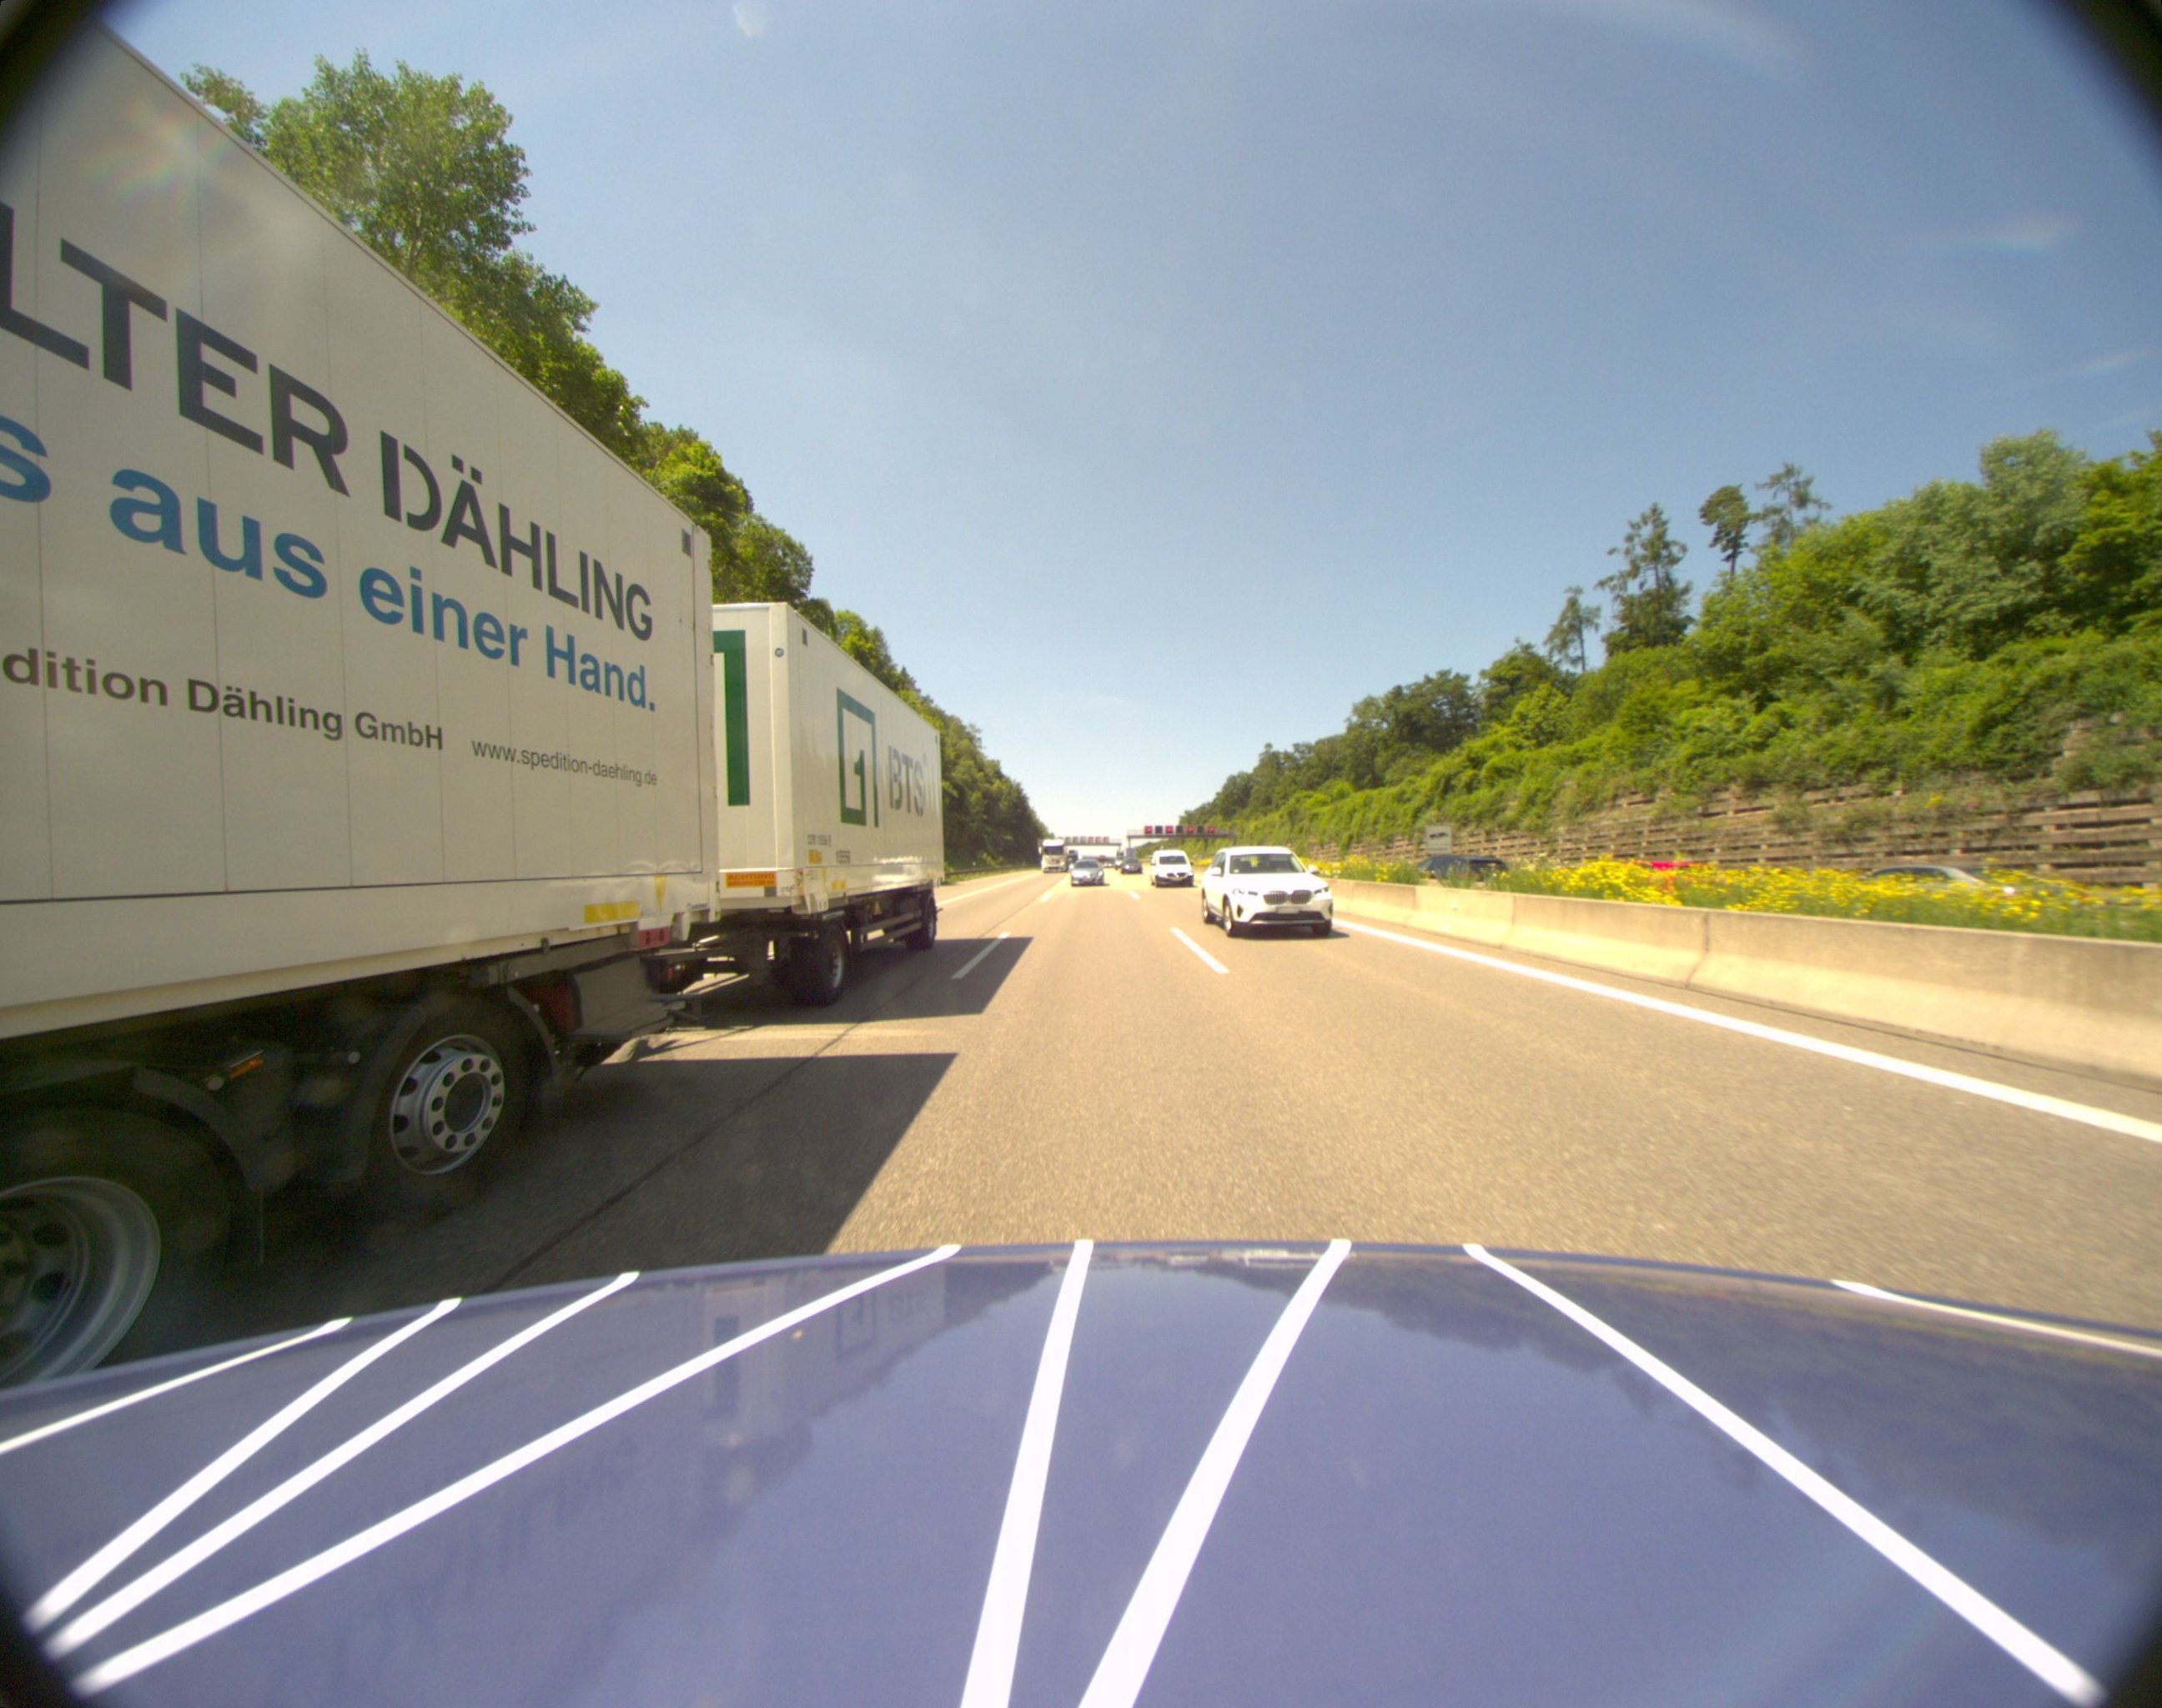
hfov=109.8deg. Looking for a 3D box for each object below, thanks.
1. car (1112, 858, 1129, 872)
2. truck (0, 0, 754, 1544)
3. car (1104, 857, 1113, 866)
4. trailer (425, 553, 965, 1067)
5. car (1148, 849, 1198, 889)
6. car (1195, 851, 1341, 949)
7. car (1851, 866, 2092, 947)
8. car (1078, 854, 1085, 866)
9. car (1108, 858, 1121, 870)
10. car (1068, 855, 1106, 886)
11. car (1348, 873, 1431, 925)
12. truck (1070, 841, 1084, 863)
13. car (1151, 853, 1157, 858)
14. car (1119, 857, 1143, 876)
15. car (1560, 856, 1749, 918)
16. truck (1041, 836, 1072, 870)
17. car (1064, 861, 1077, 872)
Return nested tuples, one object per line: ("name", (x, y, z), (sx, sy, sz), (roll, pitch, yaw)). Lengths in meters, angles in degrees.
("car", (4.659, 1.305, 90.038), (1.770, 1.504, 4.001), (-3, -1, 0))
("truck", (-4.050, -0.310, 0.711), (2.687, 4.035, 10.627), (-2, -1, 1))
("car", (6.254, 1.685, 171.957), (1.924, 1.848, 4.001), (-3, -1, 2))
("trailer", (-3.955, -0.289, 11.288), (2.687, 4.150, 10.066), (-2, -1, 1))
("car", (4.494, 0.725, 37.668), (1.998, 1.764, 4.502), (-3, -1, 2))
("car", (3.560, 0.792, 15.312), (1.850, 1.634, 4.368), (-2, 0, 0))
("car", (18.717, 1.026, 16.179), (1.442, 1.513, 3.153), (0, 0, 0))
("car", (0.079, 1.949, 235.661), (1.924, 3.522, 4.826), (-3, -1, 2))
("car", (5.364, 1.556, 122.325), (1.924, 1.848, 4.001), (-3, -1, 2))
("car", (0.385, 0.900, 42.053), (1.843, 1.517, 4.502), (-3, -1, 2))
("car", (9.979, 1.426, 24.797), (1.442, 1.513, 3.153), (0, 0, 0))
("truck", (-0.831, -0.282, 161.532), (2.627, 4.364, 13.089), (-3, -1, 0))
("car", (21.697, 0.382, 225.884), (1.704, 1.513, 3.153), (0, 0, 0))
("car", (4.323, 1.120, 66.440), (1.770, 1.504, 4.726), (-3, -1, 0))
("car", (15.599, 0.828, 21.055), (1.792, 1.513, 4.586), (0, 0, 0))
("truck", (-2.694, 0.013, 87.809), (2.844, 3.517, 13.089), (-3, -1, 0))
("car", (-1.554, 1.878, 114.588), (1.770, 1.504, 4.001), (-3, -1, 0))
